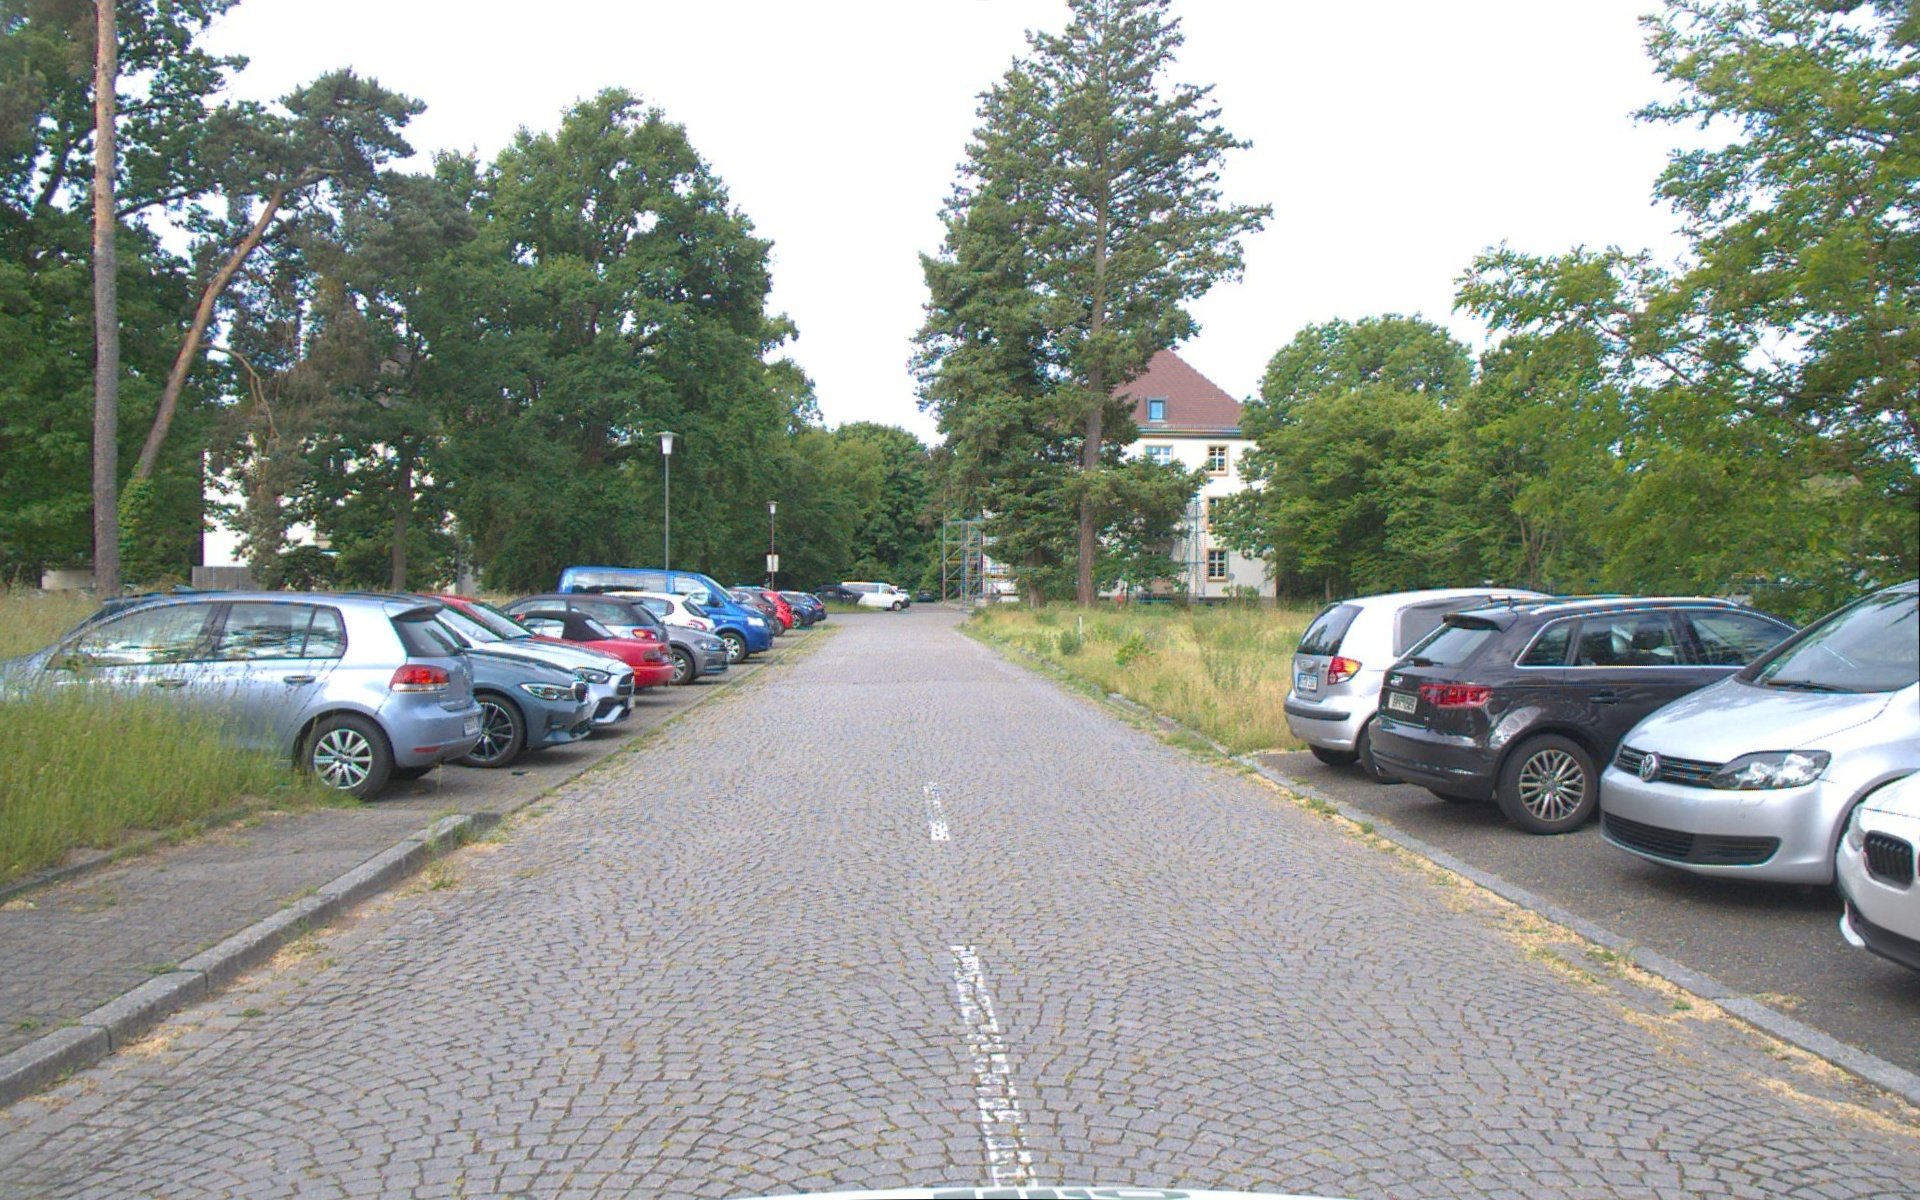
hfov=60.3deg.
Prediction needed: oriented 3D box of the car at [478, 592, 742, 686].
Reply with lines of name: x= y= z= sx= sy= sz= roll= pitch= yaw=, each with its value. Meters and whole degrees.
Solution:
car: x=-5.846 y=0.632 z=28.022 sx=4.081 sy=1.517 sz=1.864 roll=0 pitch=0 yaw=-1

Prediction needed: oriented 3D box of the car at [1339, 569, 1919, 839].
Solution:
car: x=4.854 y=0.624 z=11.297 sx=3.994 sy=1.478 sz=1.883 roll=-3 pitch=1 yaw=-5

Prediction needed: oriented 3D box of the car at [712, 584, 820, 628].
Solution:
car: x=-7.675 y=0.224 z=65.765 sx=4.145 sy=1.604 sz=1.886 roll=1 pitch=0 yaw=-4

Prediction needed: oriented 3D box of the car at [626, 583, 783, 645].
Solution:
car: x=-6.920 y=0.358 z=45.143 sx=4.085 sy=1.650 sz=1.984 roll=0 pitch=0 yaw=-5

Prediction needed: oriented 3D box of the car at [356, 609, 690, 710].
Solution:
car: x=-5.863 y=0.787 z=22.582 sx=4.082 sy=1.289 sz=1.831 roll=0 pitch=0 yaw=-2

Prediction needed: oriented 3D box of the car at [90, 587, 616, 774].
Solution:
car: x=-5.380 y=0.670 z=15.186 sx=4.168 sy=1.575 sz=1.933 roll=0 pitch=0 yaw=-6

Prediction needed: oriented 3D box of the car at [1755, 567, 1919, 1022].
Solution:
car: x=5.568 y=0.594 z=6.060 sx=4.405 sy=1.593 sz=1.903 roll=-3 pitch=1 yaw=-5

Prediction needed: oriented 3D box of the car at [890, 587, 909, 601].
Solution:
car: x=-6.797 y=-0.638 z=185.415 sx=2.077 sy=1.548 sz=3.997 roll=0 pitch=0 yaw=-4

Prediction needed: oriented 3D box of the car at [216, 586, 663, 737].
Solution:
car: x=-5.486 y=0.615 z=17.927 sx=4.288 sy=1.534 sz=1.934 roll=0 pitch=0 yaw=-5

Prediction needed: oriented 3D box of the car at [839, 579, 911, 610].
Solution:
car: x=-6.170 y=-0.427 z=119.400 sx=5.132 sy=2.206 sz=1.998 roll=0 pitch=0 yaw=-5

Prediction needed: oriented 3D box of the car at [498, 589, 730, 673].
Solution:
car: x=-6.416 y=0.553 z=30.984 sx=3.985 sy=1.523 sz=1.845 roll=0 pitch=0 yaw=-2

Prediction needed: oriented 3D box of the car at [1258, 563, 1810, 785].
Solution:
car: x=4.741 y=0.565 z=14.003 sx=3.994 sy=1.541 sz=1.802 roll=-3 pitch=1 yaw=-5

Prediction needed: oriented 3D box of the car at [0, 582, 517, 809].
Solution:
car: x=-5.515 y=0.649 z=12.446 sx=3.908 sy=1.570 sz=1.904 roll=0 pitch=0 yaw=-4

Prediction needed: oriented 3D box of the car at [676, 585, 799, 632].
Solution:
car: x=-7.435 y=0.263 z=55.497 sx=3.975 sy=1.551 sz=1.903 roll=0 pitch=0 yaw=-4

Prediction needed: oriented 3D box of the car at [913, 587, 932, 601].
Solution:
car: x=-4.188 y=-0.650 z=185.843 sx=1.912 sy=1.548 sz=3.997 roll=0 pitch=0 yaw=-4

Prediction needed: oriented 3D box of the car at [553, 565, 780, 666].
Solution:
car: x=-6.352 y=0.318 z=36.283 sx=4.687 sy=2.159 sz=2.114 roll=0 pitch=0 yaw=-4

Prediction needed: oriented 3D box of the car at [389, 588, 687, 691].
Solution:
car: x=-6.339 y=0.573 z=25.214 sx=4.082 sy=1.508 sz=1.845 roll=0 pitch=0 yaw=-2

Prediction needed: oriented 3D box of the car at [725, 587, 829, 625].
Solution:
car: x=-7.771 y=0.237 z=70.462 sx=4.215 sy=1.486 sz=1.974 roll=1 pitch=0 yaw=-2

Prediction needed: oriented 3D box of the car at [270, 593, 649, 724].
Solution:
car: x=-5.994 y=0.672 z=20.200 sx=4.083 sy=1.502 sz=1.863 roll=0 pitch=0 yaw=-4

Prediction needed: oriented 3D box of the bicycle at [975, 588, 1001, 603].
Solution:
bicycle: x=2.325 y=-0.387 z=137.056 sx=2.194 sy=1.276 sz=0.777 roll=0 pitch=0 yaw=-1

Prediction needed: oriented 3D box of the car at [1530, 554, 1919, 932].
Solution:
car: x=5.395 y=0.569 z=8.605 sx=4.159 sy=1.624 sz=1.883 roll=-3 pitch=1 yaw=-7
